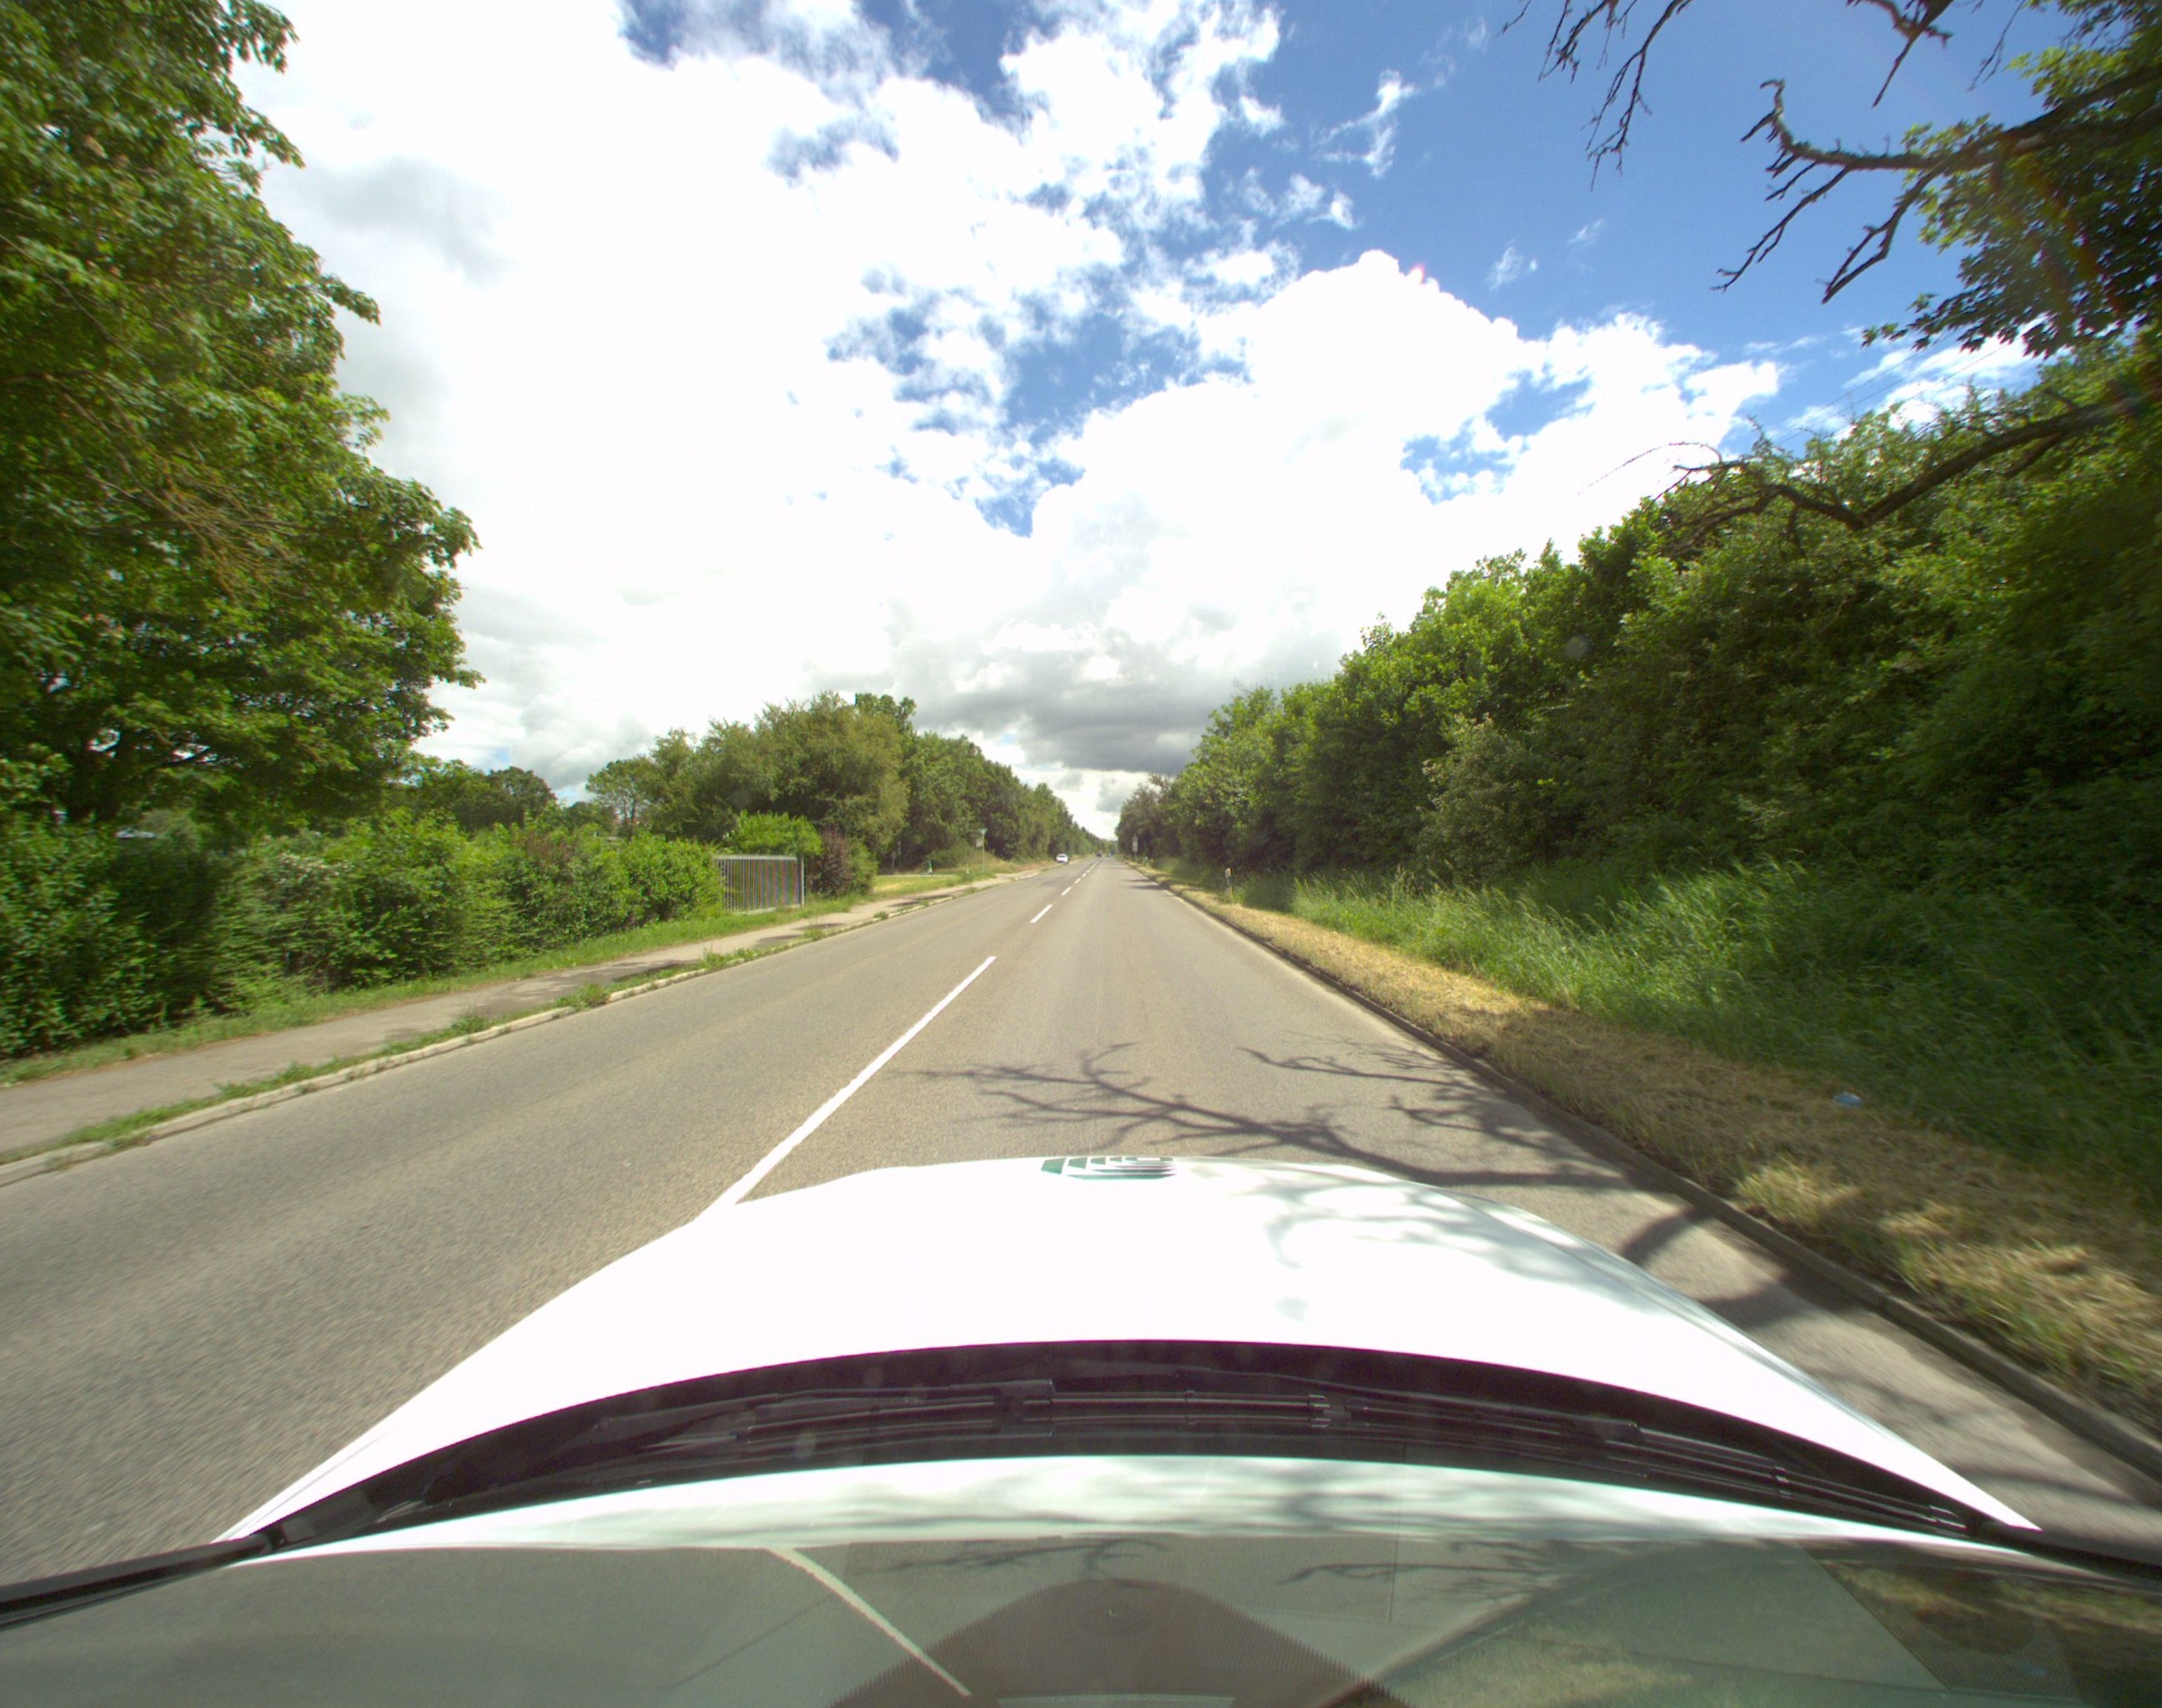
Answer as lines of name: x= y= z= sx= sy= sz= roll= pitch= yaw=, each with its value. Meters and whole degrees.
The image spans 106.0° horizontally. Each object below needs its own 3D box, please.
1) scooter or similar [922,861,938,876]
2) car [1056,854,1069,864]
scooter or similar: x=-12.655 y=1.216 z=68.223 sx=1.234 sy=1.168 sz=0.408 roll=-1 pitch=0 yaw=14
car: x=-3.069 y=0.869 z=135.805 sx=1.791 sy=1.543 sz=3.956 roll=-2 pitch=-1 yaw=2
